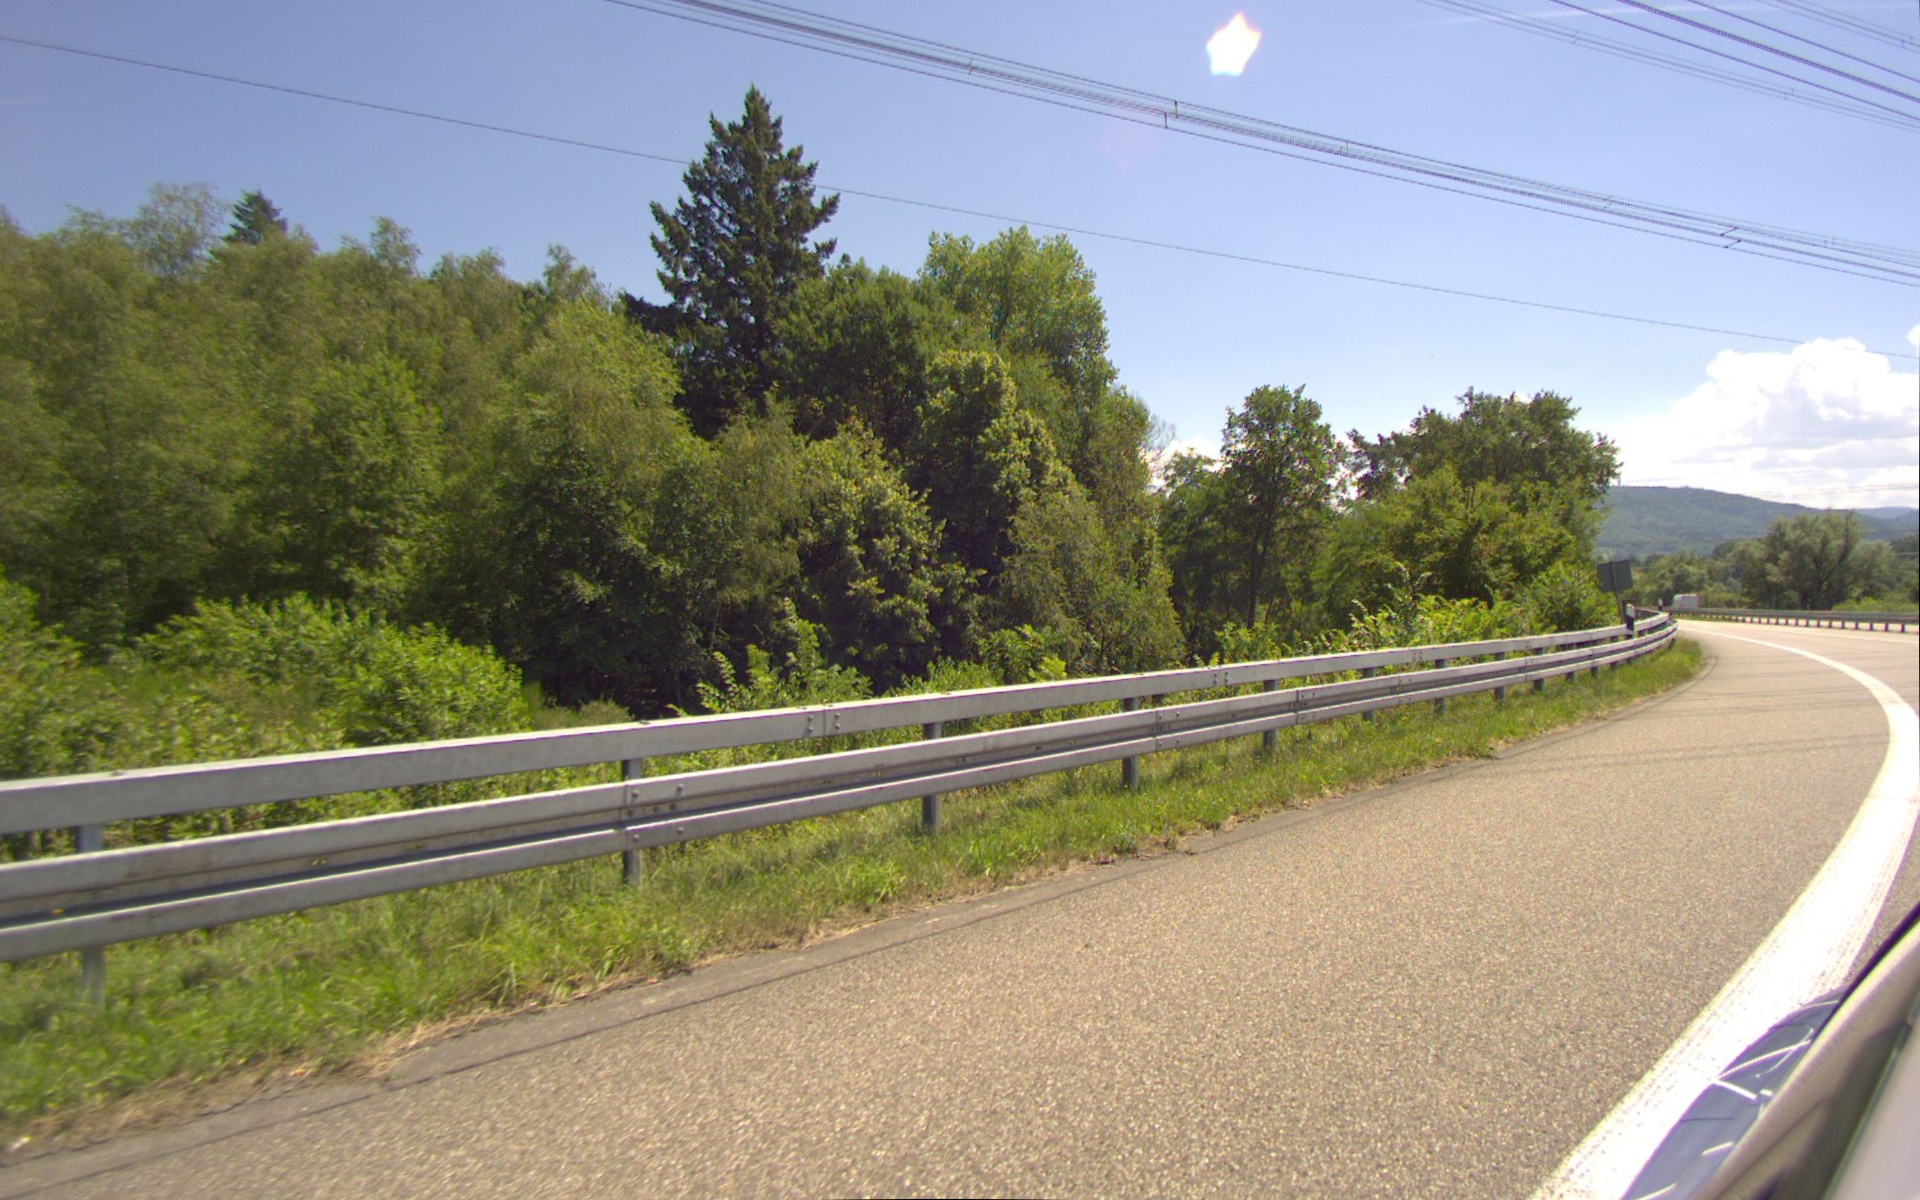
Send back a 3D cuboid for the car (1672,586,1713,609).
[{"bbox_3d":[93.118,-0.354,128.759,2.504,2.650,7.132,3,1,22],"label":"car"}]
